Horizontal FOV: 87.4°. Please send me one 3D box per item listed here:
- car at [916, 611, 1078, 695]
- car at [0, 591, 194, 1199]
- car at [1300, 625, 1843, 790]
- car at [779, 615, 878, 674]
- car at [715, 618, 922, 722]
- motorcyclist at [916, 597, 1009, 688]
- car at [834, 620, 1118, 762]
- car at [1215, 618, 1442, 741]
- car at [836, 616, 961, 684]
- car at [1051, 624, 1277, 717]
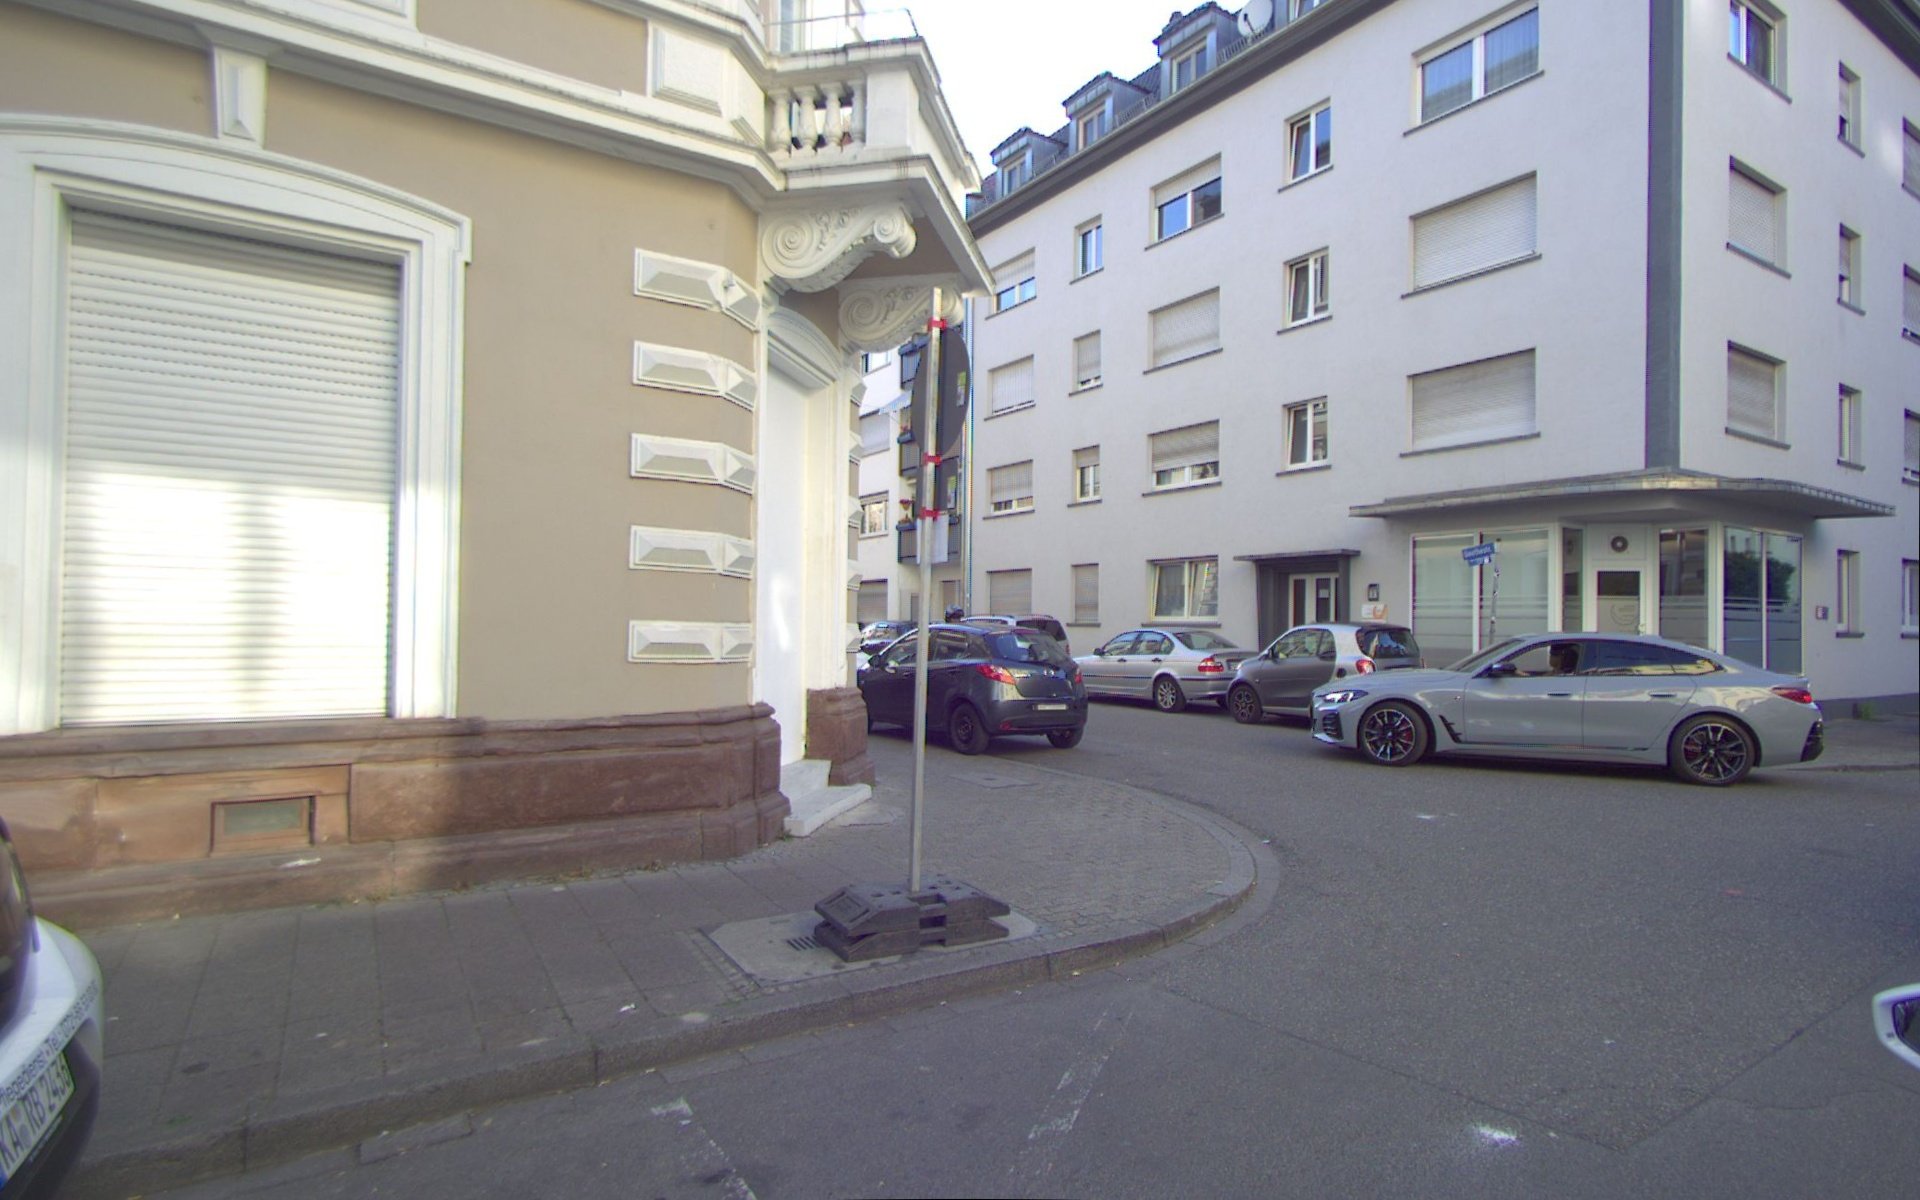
[{"bbox_3d":[0.725,1.106,22.482,1.586,1.626,3.993,1,0,-33],"label":"car"},{"bbox_3d":[-3.497,0.763,0.917,4.218,1.527,1.911,1,-3,-31],"label":"car"},{"bbox_3d":[6.206,1.034,10.930,4.715,1.470,1.934,0,-1,18],"label":"car"},{"bbox_3d":[-4.016,1.298,30.224,1.586,1.560,3.470,1,0,-33],"label":"car"},{"bbox_3d":[-2.501,1.063,16.795,1.884,1.481,4.286,1,-1,-32],"label":"car"},{"bbox_3d":[0.023,0.644,15.640,0.961,1.347,1.217,1,-1,-32],"label":"motorcyclist"},{"bbox_3d":[0.064,1.003,12.524,1.713,1.470,3.639,1,-2,-36],"label":"car"},{"bbox_3d":[5.378,1.089,14.895,1.576,1.560,2.771,1,0,-31],"label":"car"},{"bbox_3d":[-1.668,1.247,26.245,1.587,1.560,3.685,1,0,-34],"label":"car"},{"bbox_3d":[3.586,1.197,18.395,1.586,1.422,4.179,1,-1,-33],"label":"car"}]
